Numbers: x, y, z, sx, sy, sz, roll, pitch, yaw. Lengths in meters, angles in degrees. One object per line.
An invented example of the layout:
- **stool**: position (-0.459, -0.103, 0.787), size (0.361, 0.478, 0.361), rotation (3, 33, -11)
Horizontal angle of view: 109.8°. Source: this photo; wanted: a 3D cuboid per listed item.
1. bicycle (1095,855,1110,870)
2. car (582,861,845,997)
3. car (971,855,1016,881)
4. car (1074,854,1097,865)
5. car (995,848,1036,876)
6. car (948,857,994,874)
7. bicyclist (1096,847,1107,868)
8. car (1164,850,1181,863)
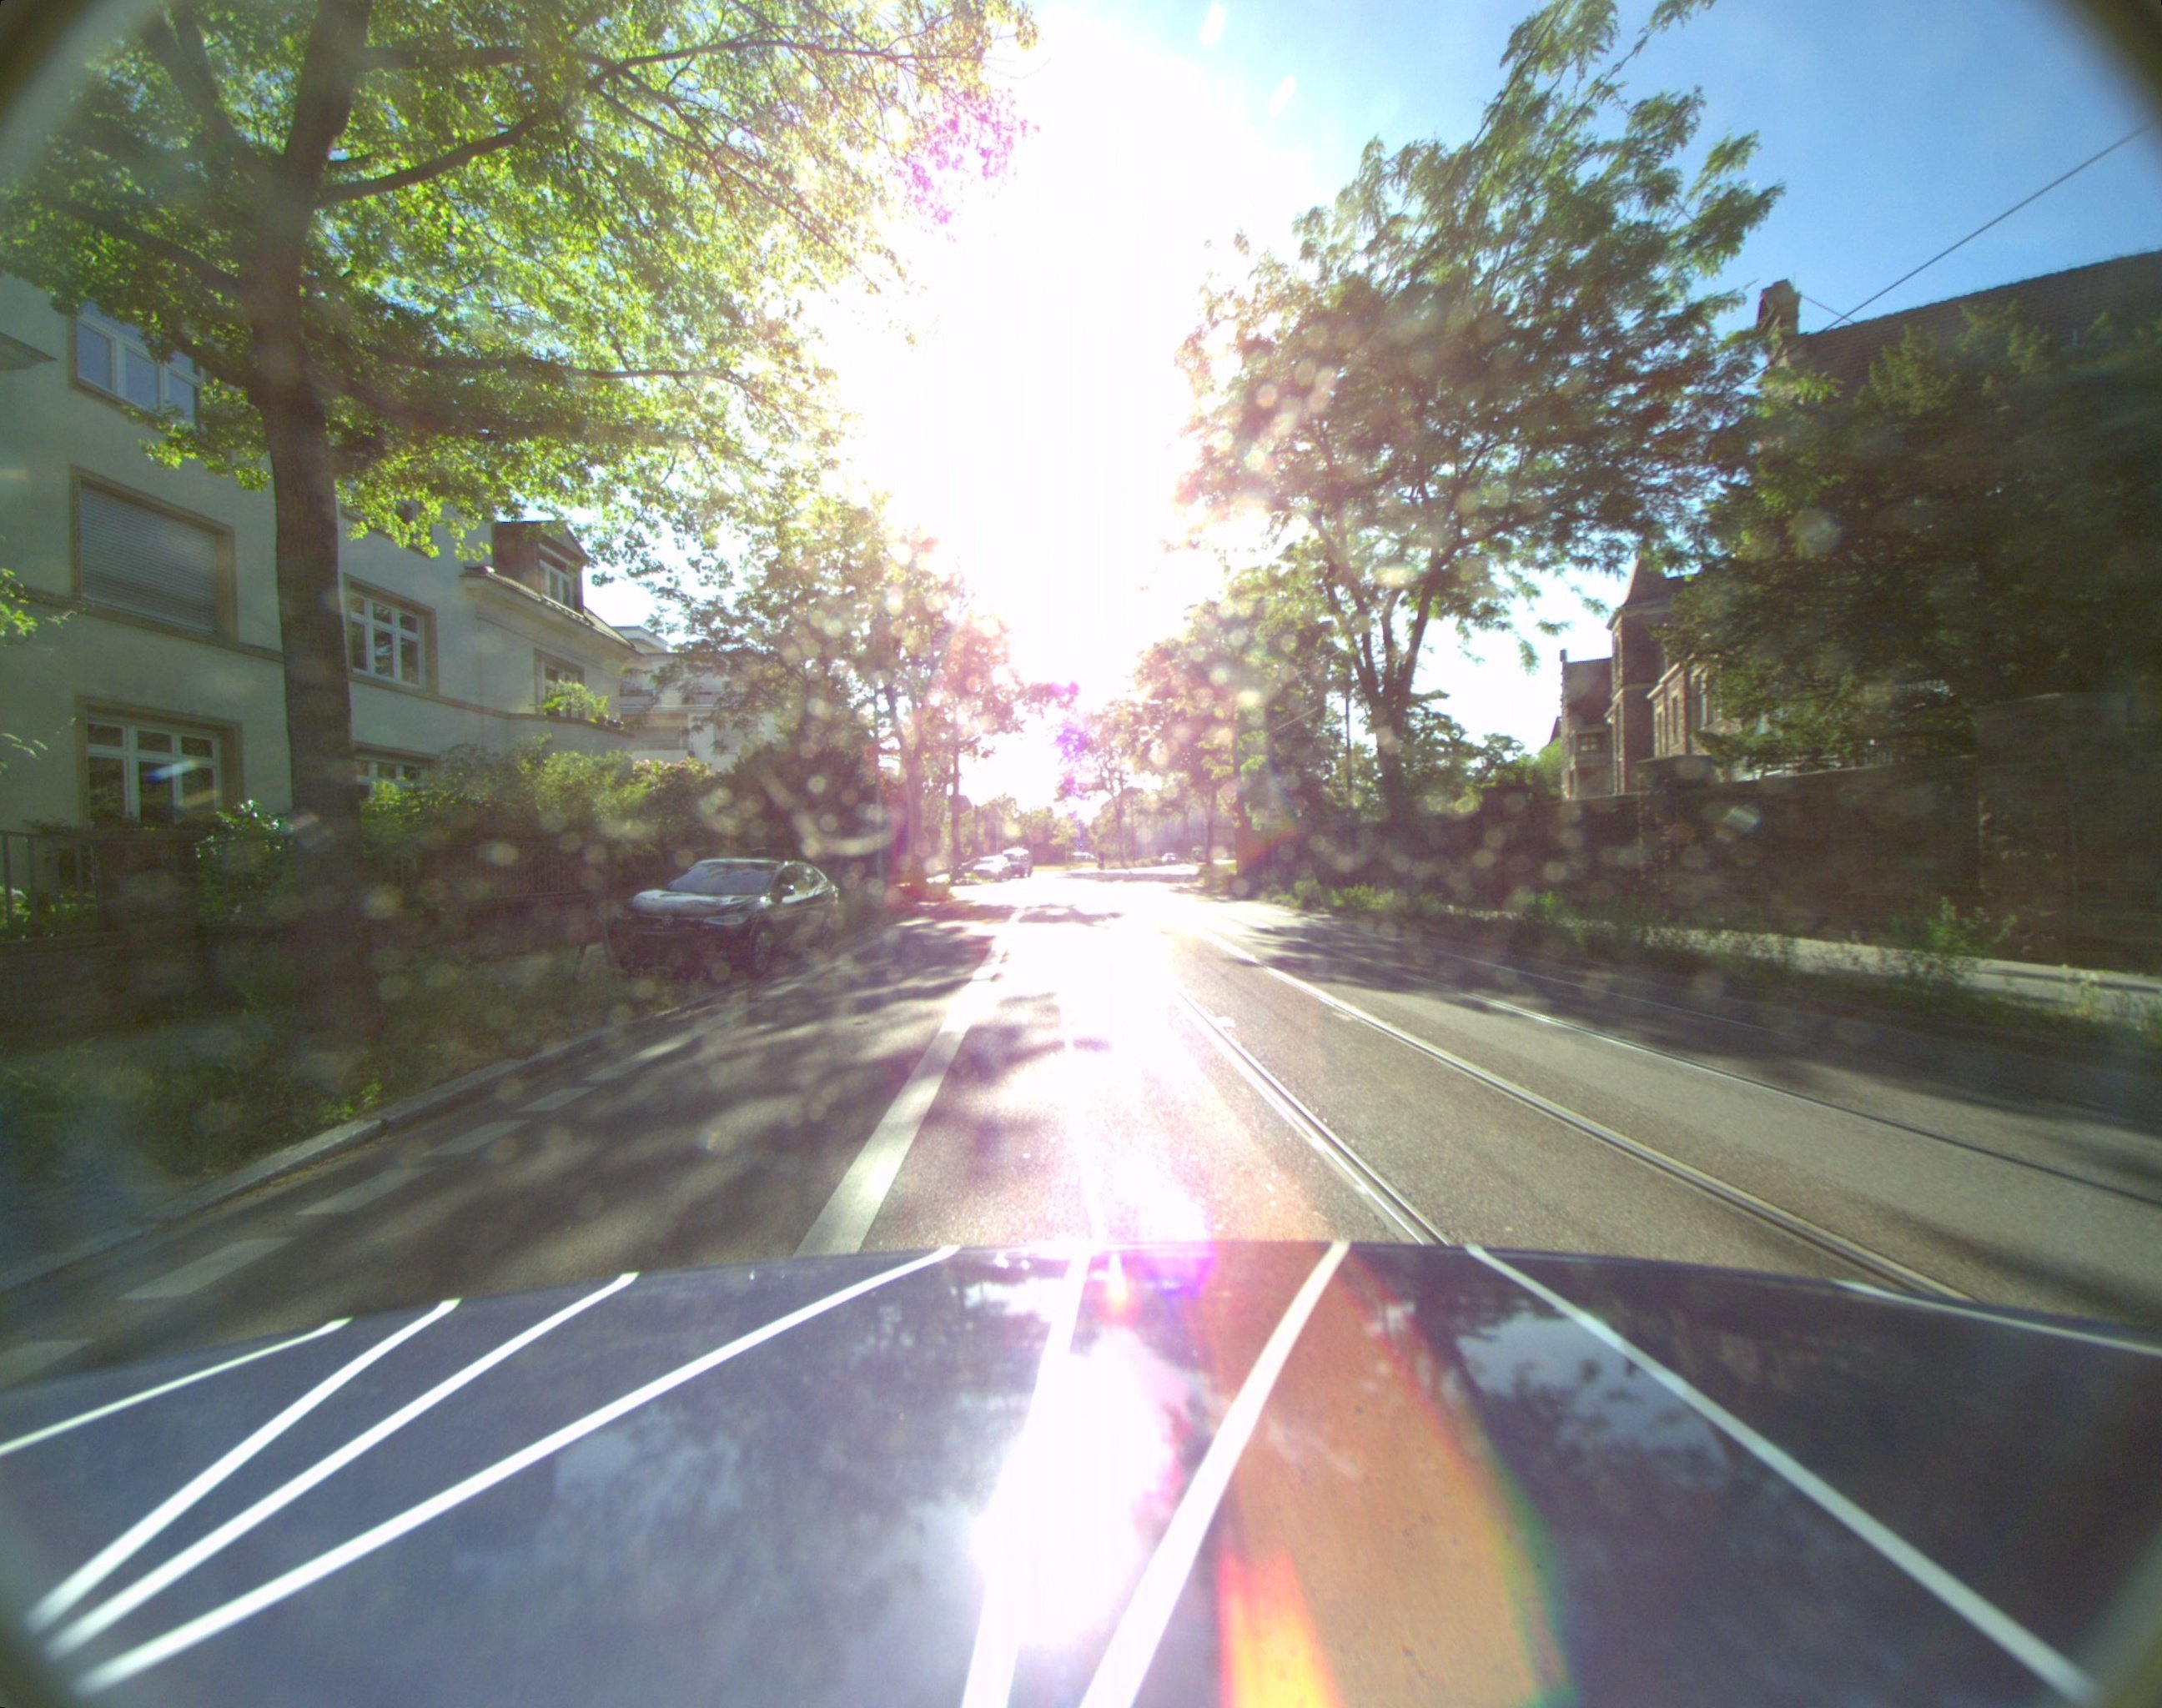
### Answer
- **bicycle**: position (1.692, 0.670, 59.821), size (0.588, 1.105, 1.857), rotation (-1, 0, 19)
- **car**: position (-5.199, 0.947, 11.511), size (1.919, 1.590, 4.258), rotation (2, 0, -1)
- **car**: position (-5.168, 0.792, 45.338), size (1.901, 1.402, 4.260), rotation (-1, 0, 4)
- **car**: position (0.742, 0.913, 128.794), size (3.908, 1.683, 1.905), rotation (-1, 1, -1)
- **car**: position (-4.406, 0.504, 51.693), size (1.900, 1.775, 4.670), rotation (-1, 0, 6)
- **car**: position (-10.048, 1.043, 69.542), size (3.998, 1.433, 1.813), rotation (-2, 0, -3)
- **bicyclist**: position (1.626, 0.260, 59.694), size (0.643, 1.632, 0.666), rotation (-2, 1, 19)
- **car**: position (11.907, 0.314, 98.726), size (1.997, 1.539, 4.002), rotation (-2, 0, 8)
